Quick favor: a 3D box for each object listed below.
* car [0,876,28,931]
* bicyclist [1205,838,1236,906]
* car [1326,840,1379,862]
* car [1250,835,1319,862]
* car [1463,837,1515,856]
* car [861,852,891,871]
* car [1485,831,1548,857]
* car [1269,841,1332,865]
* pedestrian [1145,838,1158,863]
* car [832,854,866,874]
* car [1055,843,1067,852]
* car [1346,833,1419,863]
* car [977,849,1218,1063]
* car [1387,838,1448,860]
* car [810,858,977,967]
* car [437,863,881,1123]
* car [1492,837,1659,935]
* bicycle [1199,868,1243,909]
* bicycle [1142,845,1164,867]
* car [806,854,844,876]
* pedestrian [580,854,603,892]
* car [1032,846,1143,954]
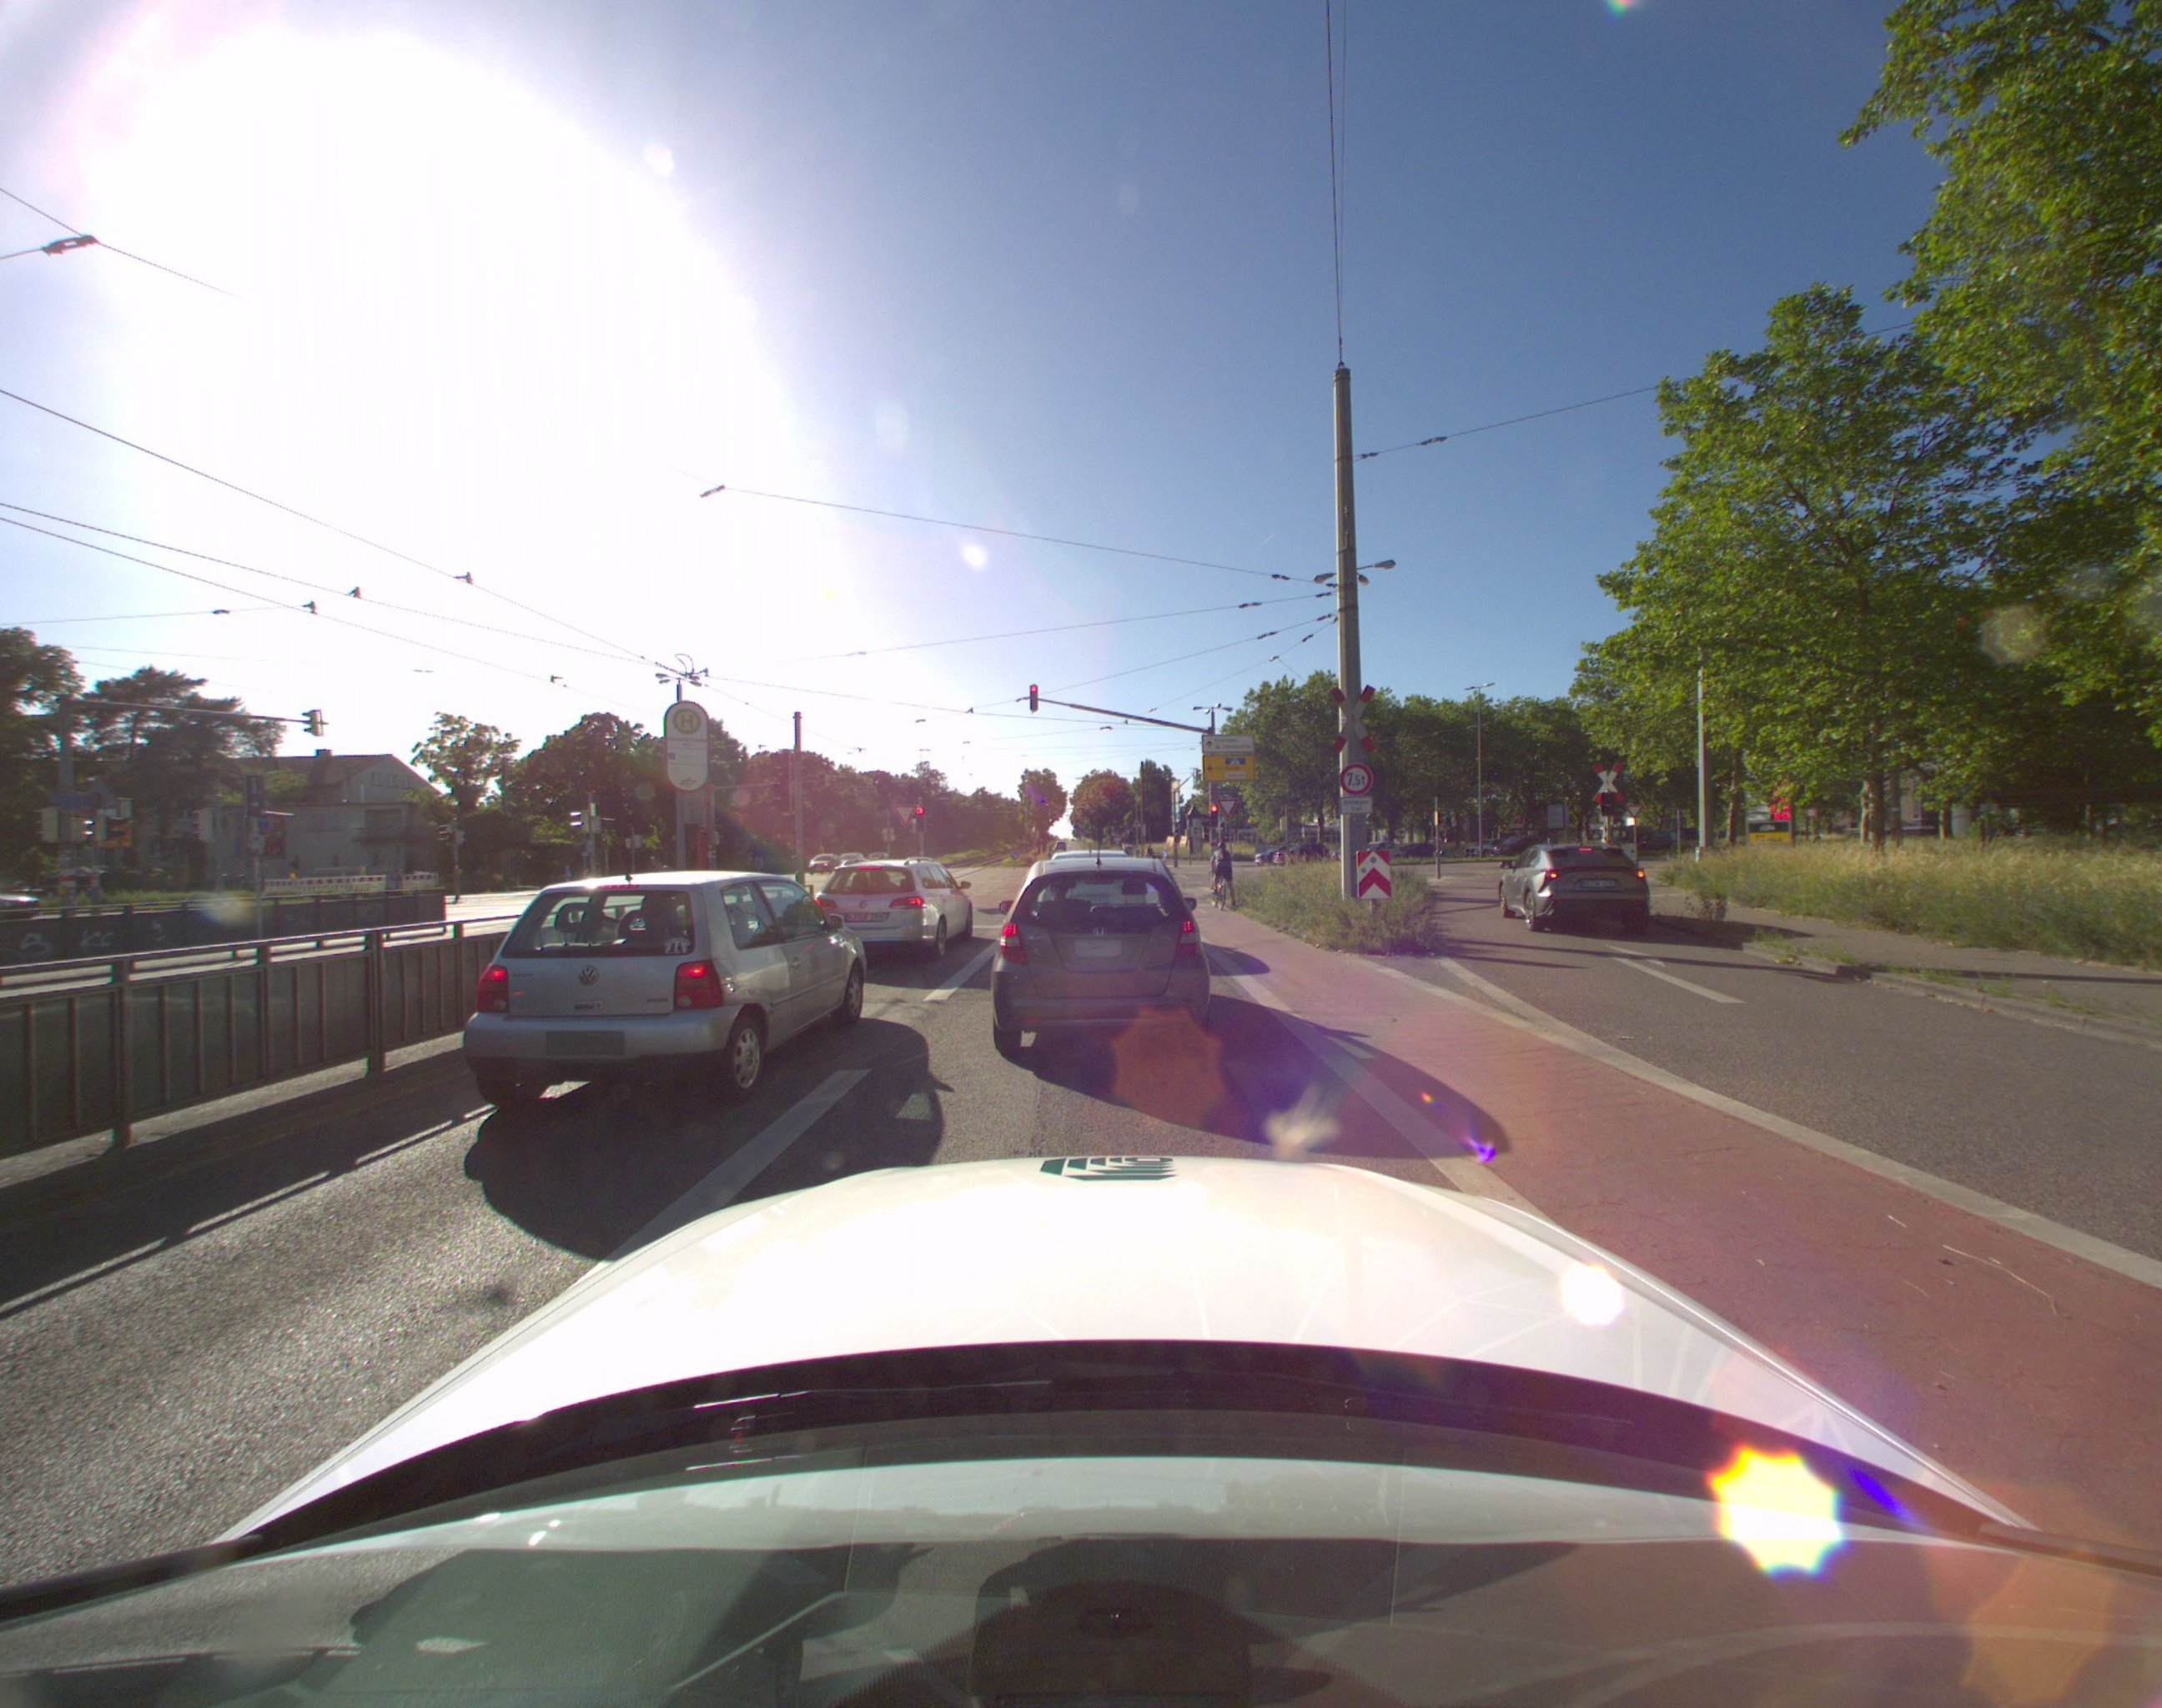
[{"bbox_3d":[-32.028,1.437,21.501,4.844,1.497,1.771,-2,0,-25],"label":"car"},{"bbox_3d":[3.629,0.458,21.227,0.663,1.716,0.948,0,-1,1],"label":"bicyclist"},{"bbox_3d":[20.939,-0.209,62.814,3.757,1.570,1.480,-2,0,-21],"label":"car"},{"bbox_3d":[15.028,-0.376,60.085,4.705,1.879,1.986,0,-1,-22],"label":"car"},{"bbox_3d":[34.116,-0.625,68.162,4.002,1.501,1.582,-2,0,-21],"label":"car"},{"bbox_3d":[-18.781,0.671,74.757,1.991,1.604,4.745,0,0,-6],"label":"car"},{"bbox_3d":[32.174,-0.713,60.176,4.218,1.774,1.842,-2,0,-23],"label":"car"},{"bbox_3d":[15.017,-0.086,55.793,4.002,1.531,1.594,-2,0,-22],"label":"car"},{"bbox_3d":[5.267,-0.263,60.853,0.783,1.836,0.857,-2,0,11],"label":"pedestrian"},{"bbox_3d":[-18.915,0.816,66.501,1.829,1.548,4.277,-2,0,-5],"label":"car"},{"bbox_3d":[-3.176,-1.005,128.568,1.707,1.478,3.992,-2,0,-5],"label":"car"},{"bbox_3d":[21.956,-0.448,59.250,4.906,2.013,1.986,-2,0,-22],"label":"car"},{"bbox_3d":[0.106,0.706,7.494,1.663,1.462,3.585,-1,0,-1],"label":"car"},{"bbox_3d":[26.885,-0.413,65.051,4.526,1.574,1.681,-2,0,-21],"label":"car"},{"bbox_3d":[-2.781,0.796,12.984,1.613,1.457,4.086,-1,0,1],"label":"car"},{"bbox_3d":[-2.831,0.815,6.337,1.613,1.417,3.352,-2,0,1],"label":"car"},{"bbox_3d":[9.458,0.525,15.979,1.752,1.630,4.519,-2,0,18],"label":"car"},{"bbox_3d":[3.630,0.864,21.304,0.719,0.989,2.876,0,0,1],"label":"bicycle"},{"bbox_3d":[5.433,0.110,61.229,0.811,1.574,3.231,-2,0,21],"label":"bicycle"},{"bbox_3d":[-19.018,0.807,60.708,1.829,1.548,3.993,-2,0,-5],"label":"car"},{"bbox_3d":[-26.424,0.997,43.961,0.748,2.013,0.788,-2,0,-11],"label":"pedestrian"},{"bbox_3d":[0.143,0.677,14.134,1.605,1.562,4.289,-1,0,1],"label":"car"}]
